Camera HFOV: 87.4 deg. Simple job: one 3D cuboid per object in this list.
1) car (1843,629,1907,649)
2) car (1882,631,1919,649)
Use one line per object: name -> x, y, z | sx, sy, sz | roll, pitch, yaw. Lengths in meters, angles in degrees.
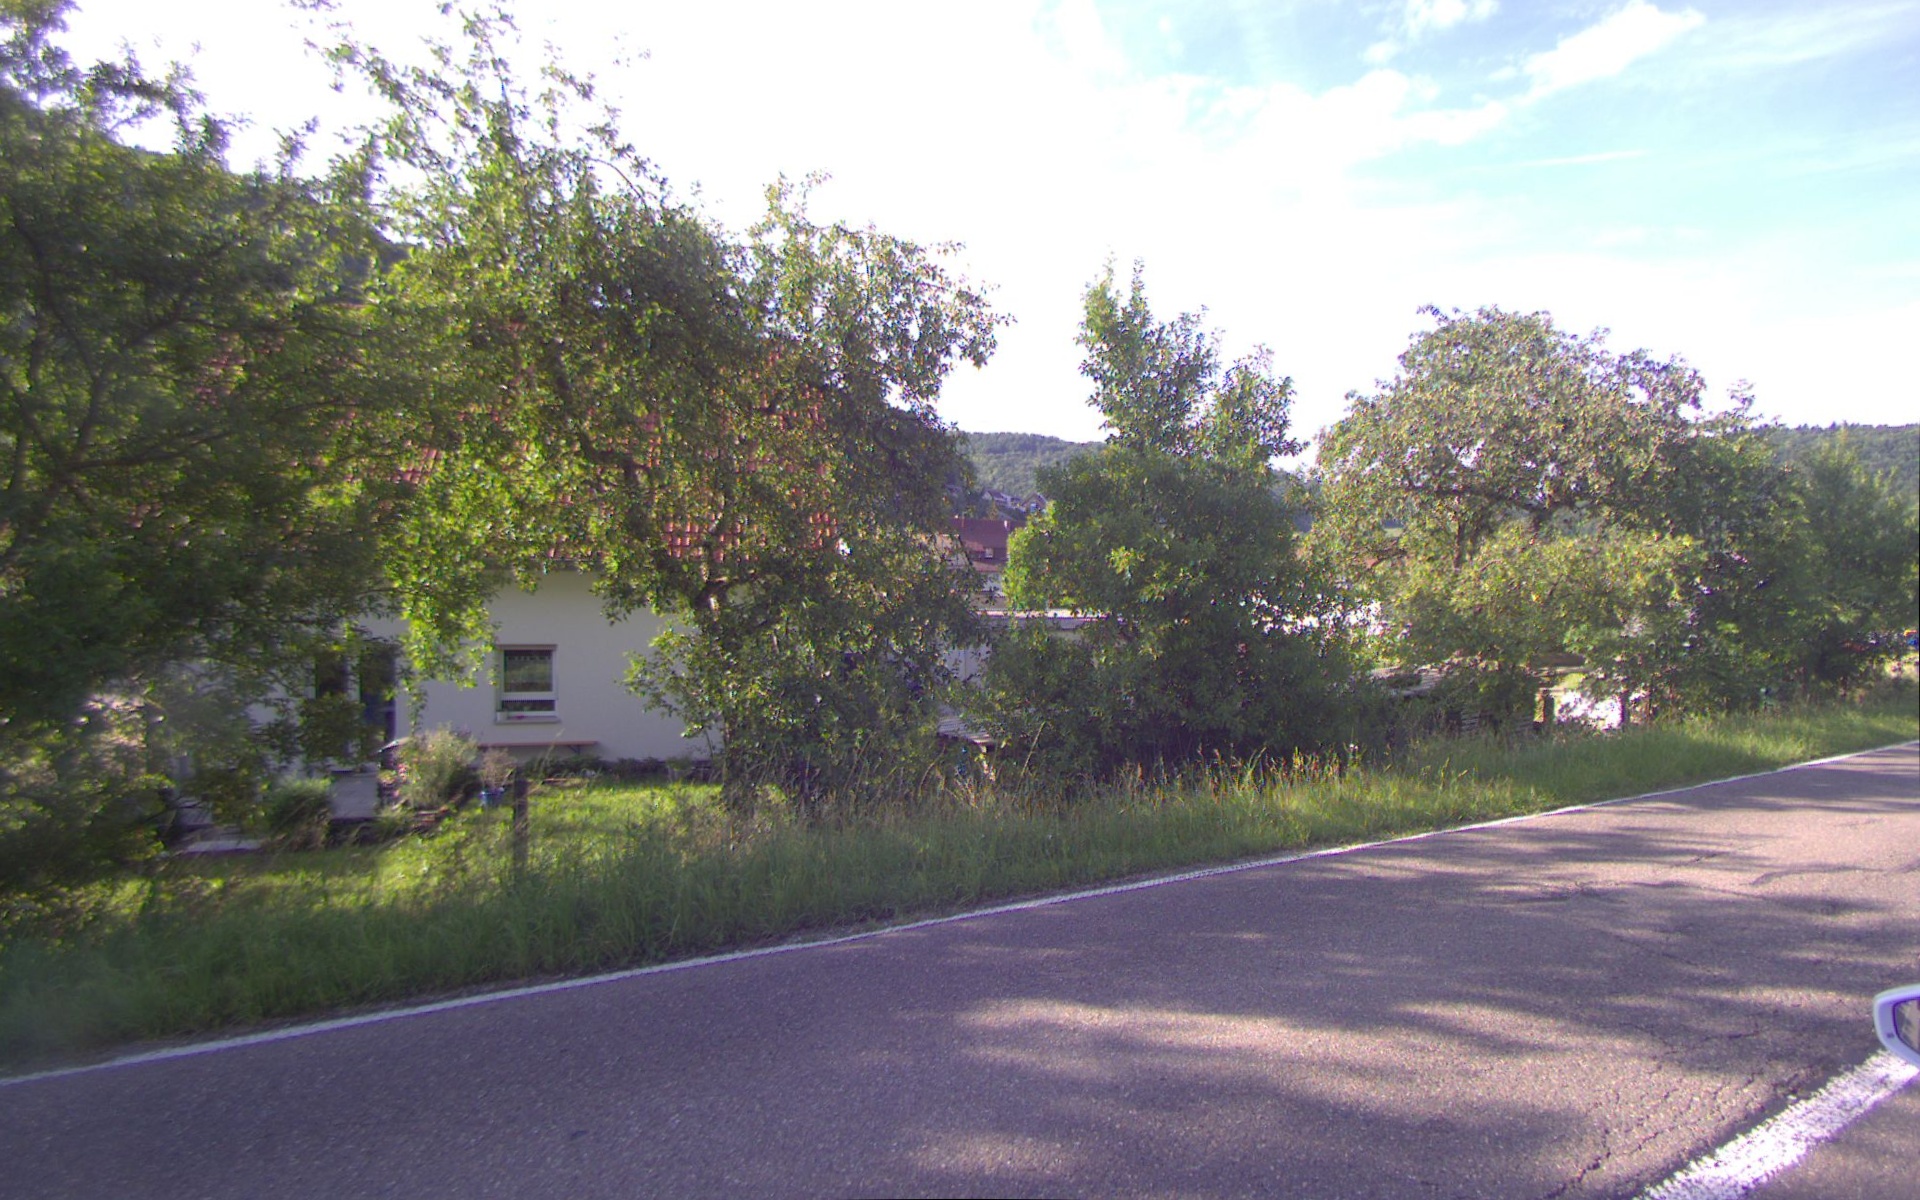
car -> 83.153, 3.536, 91.304 | 1.763, 1.574, 3.965 | 2, 0, -32
car -> 90.646, 3.791, 95.554 | 1.763, 1.574, 3.965 | 2, 0, -32
